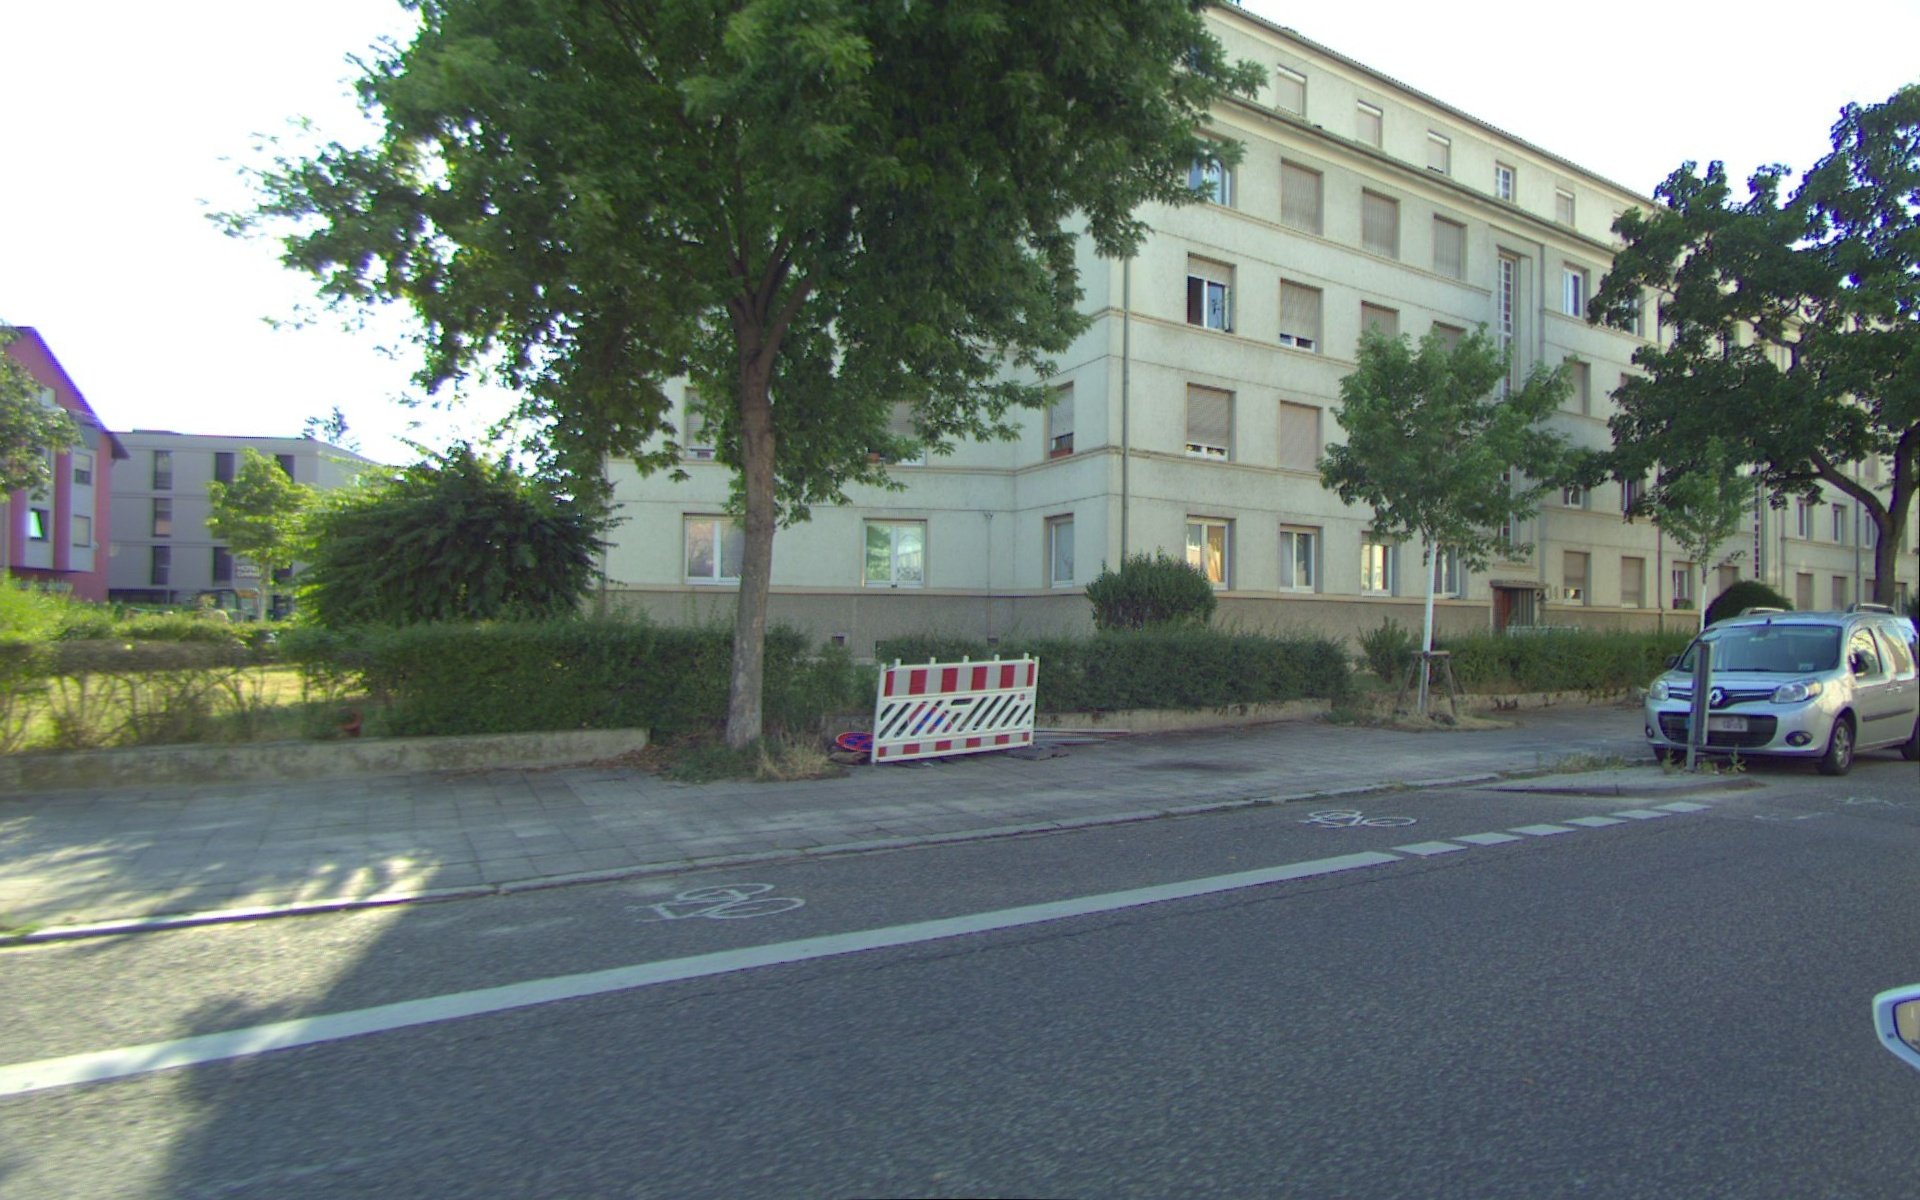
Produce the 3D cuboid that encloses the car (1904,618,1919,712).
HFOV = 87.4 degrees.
[{"bbox_3d":[18.272,1.186,17.402,3.957,1.572,1.863,2,0,-33],"label":"car"}]

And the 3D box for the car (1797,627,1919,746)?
[{"bbox_3d":[14.182,1.230,14.695,3.957,1.572,1.863,2,-3,-33],"label":"car"}]

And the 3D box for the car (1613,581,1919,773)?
[{"bbox_3d":[9.974,0.890,11.986,4.434,1.921,1.833,2,-3,-30],"label":"car"}]
